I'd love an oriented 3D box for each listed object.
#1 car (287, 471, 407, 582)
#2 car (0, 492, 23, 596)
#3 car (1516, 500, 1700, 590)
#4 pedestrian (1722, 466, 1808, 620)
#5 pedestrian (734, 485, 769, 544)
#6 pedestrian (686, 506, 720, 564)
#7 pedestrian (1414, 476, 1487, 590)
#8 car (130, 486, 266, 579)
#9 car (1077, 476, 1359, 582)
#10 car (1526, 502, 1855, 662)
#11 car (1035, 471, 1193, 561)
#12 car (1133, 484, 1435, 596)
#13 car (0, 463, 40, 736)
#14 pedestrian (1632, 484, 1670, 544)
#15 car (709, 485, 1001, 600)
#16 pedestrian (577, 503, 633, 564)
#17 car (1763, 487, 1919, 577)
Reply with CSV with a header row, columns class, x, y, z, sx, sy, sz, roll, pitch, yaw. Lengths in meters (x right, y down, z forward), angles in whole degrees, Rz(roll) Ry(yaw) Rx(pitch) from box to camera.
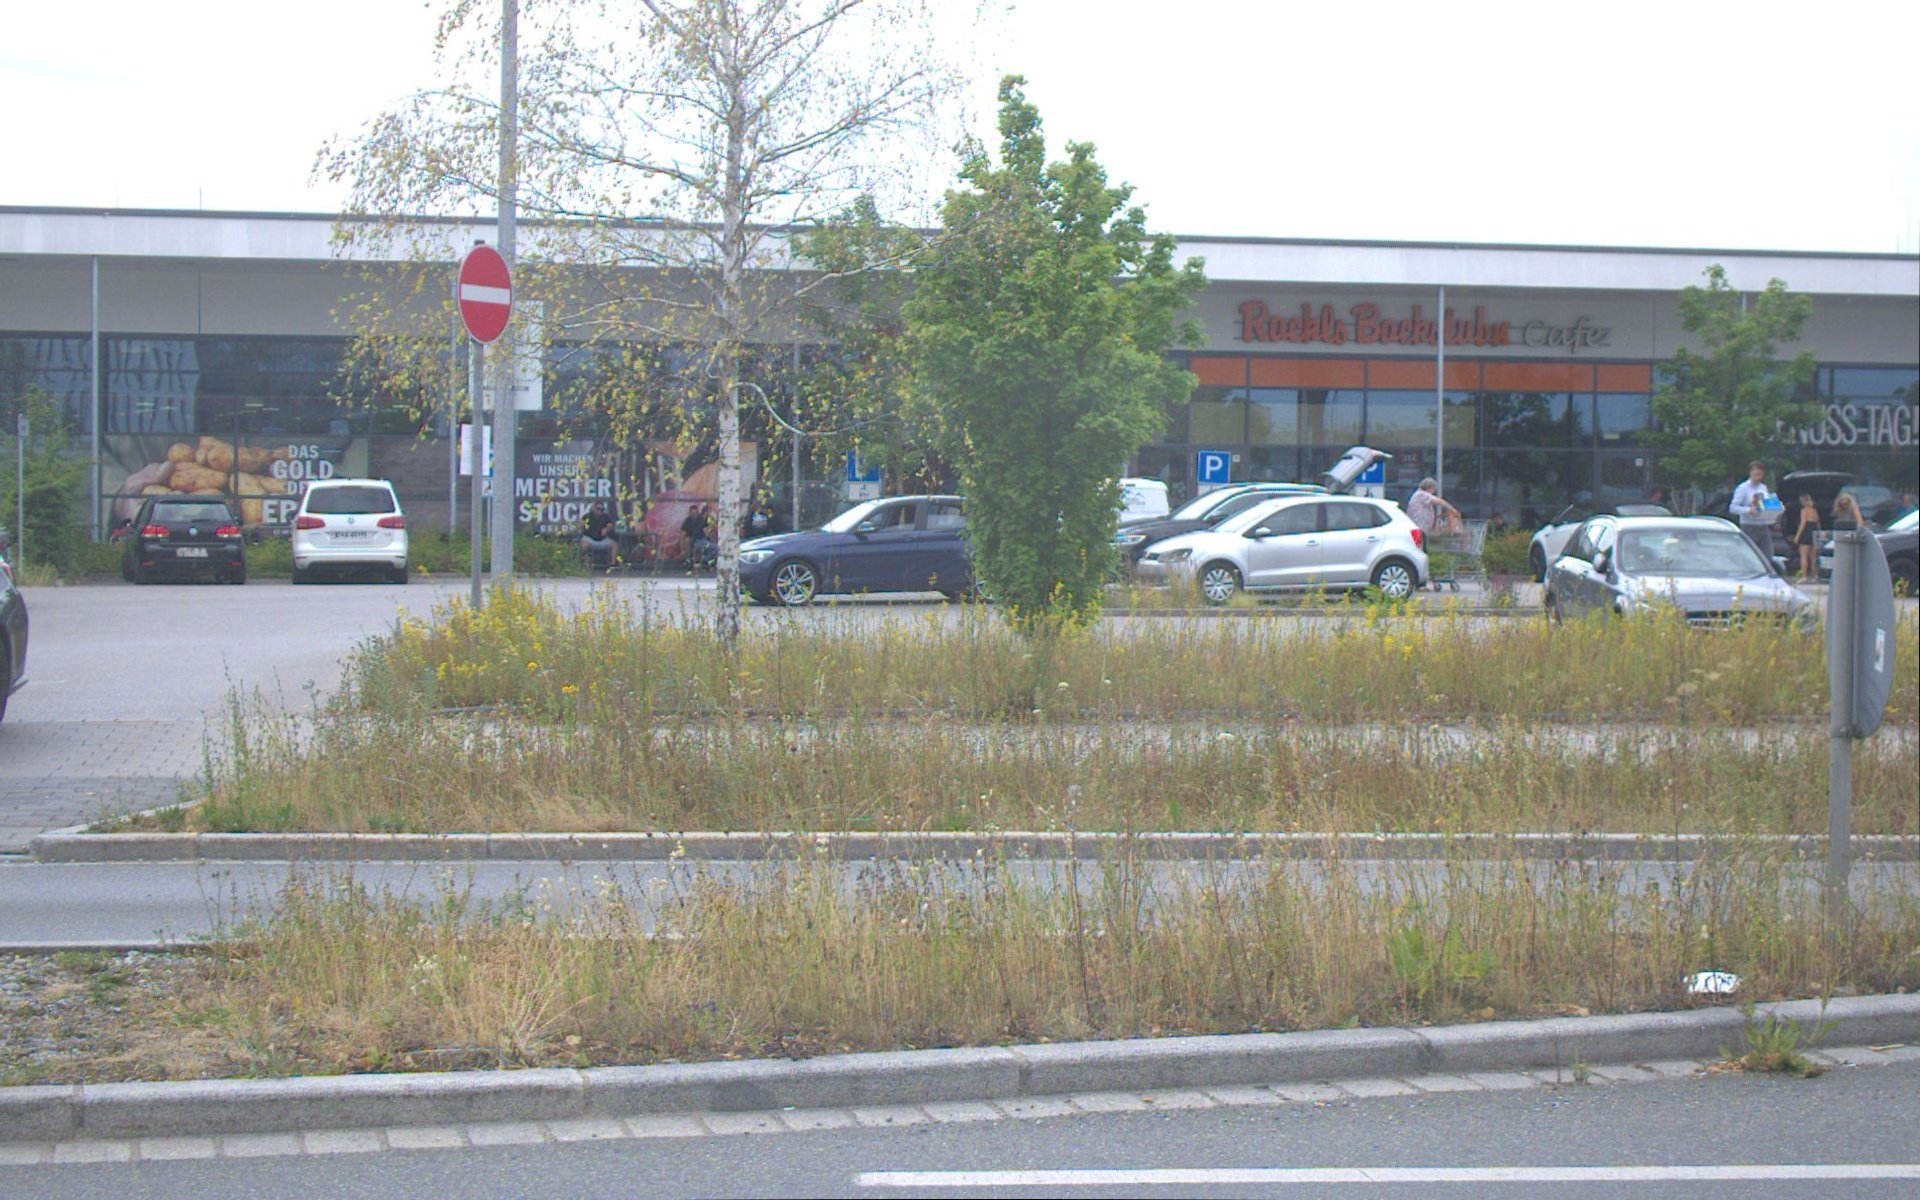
class,x,y,z,sx,sy,sz,roll,pitch,yaw
car,-10.168,-1.251,57.218,1.823,1.694,4.235,0,3,-8
car,-14.418,-0.775,45.138,3.986,1.347,2.001,1,1,-13
car,11.562,-1.014,61.642,1.993,1.503,4.001,0,2,-9
pedestrian,10.675,-0.768,45.593,1.001,2.006,0.867,1,2,18
pedestrian,-4.022,-1.651,66.387,0.576,1.120,0.562,0,2,-14
pedestrian,-5.014,-1.269,67.017,0.576,1.120,0.562,0,2,-14
pedestrian,7.097,-0.975,49.763,0.821,1.626,0.899,1,1,-6
car,-12.509,-1.137,56.616,1.906,1.439,4.001,0,2,-8
car,3.708,-1.034,49.674,3.745,1.449,1.668,0,2,-11
car,6.779,-0.208,32.376,1.988,1.379,4.151,1,1,-3
car,2.645,-1.494,59.930,1.993,1.503,4.001,0,2,-9
car,4.381,-0.823,46.729,3.745,1.449,1.668,0,2,-11
car,-6.173,0.073,16.620,1.780,1.440,4.609,1,3,6
pedestrian,13.907,-1.727,69.197,0.560,1.197,0.528,0,2,-11
car,-1.403,-0.764,45.324,3.606,1.449,1.668,0,2,-12
pedestrian,-6.952,-1.303,67.260,0.970,1.150,1.133,0,2,-12
car,16.364,-1.195,60.238,3.986,1.503,2.001,0,2,-9
